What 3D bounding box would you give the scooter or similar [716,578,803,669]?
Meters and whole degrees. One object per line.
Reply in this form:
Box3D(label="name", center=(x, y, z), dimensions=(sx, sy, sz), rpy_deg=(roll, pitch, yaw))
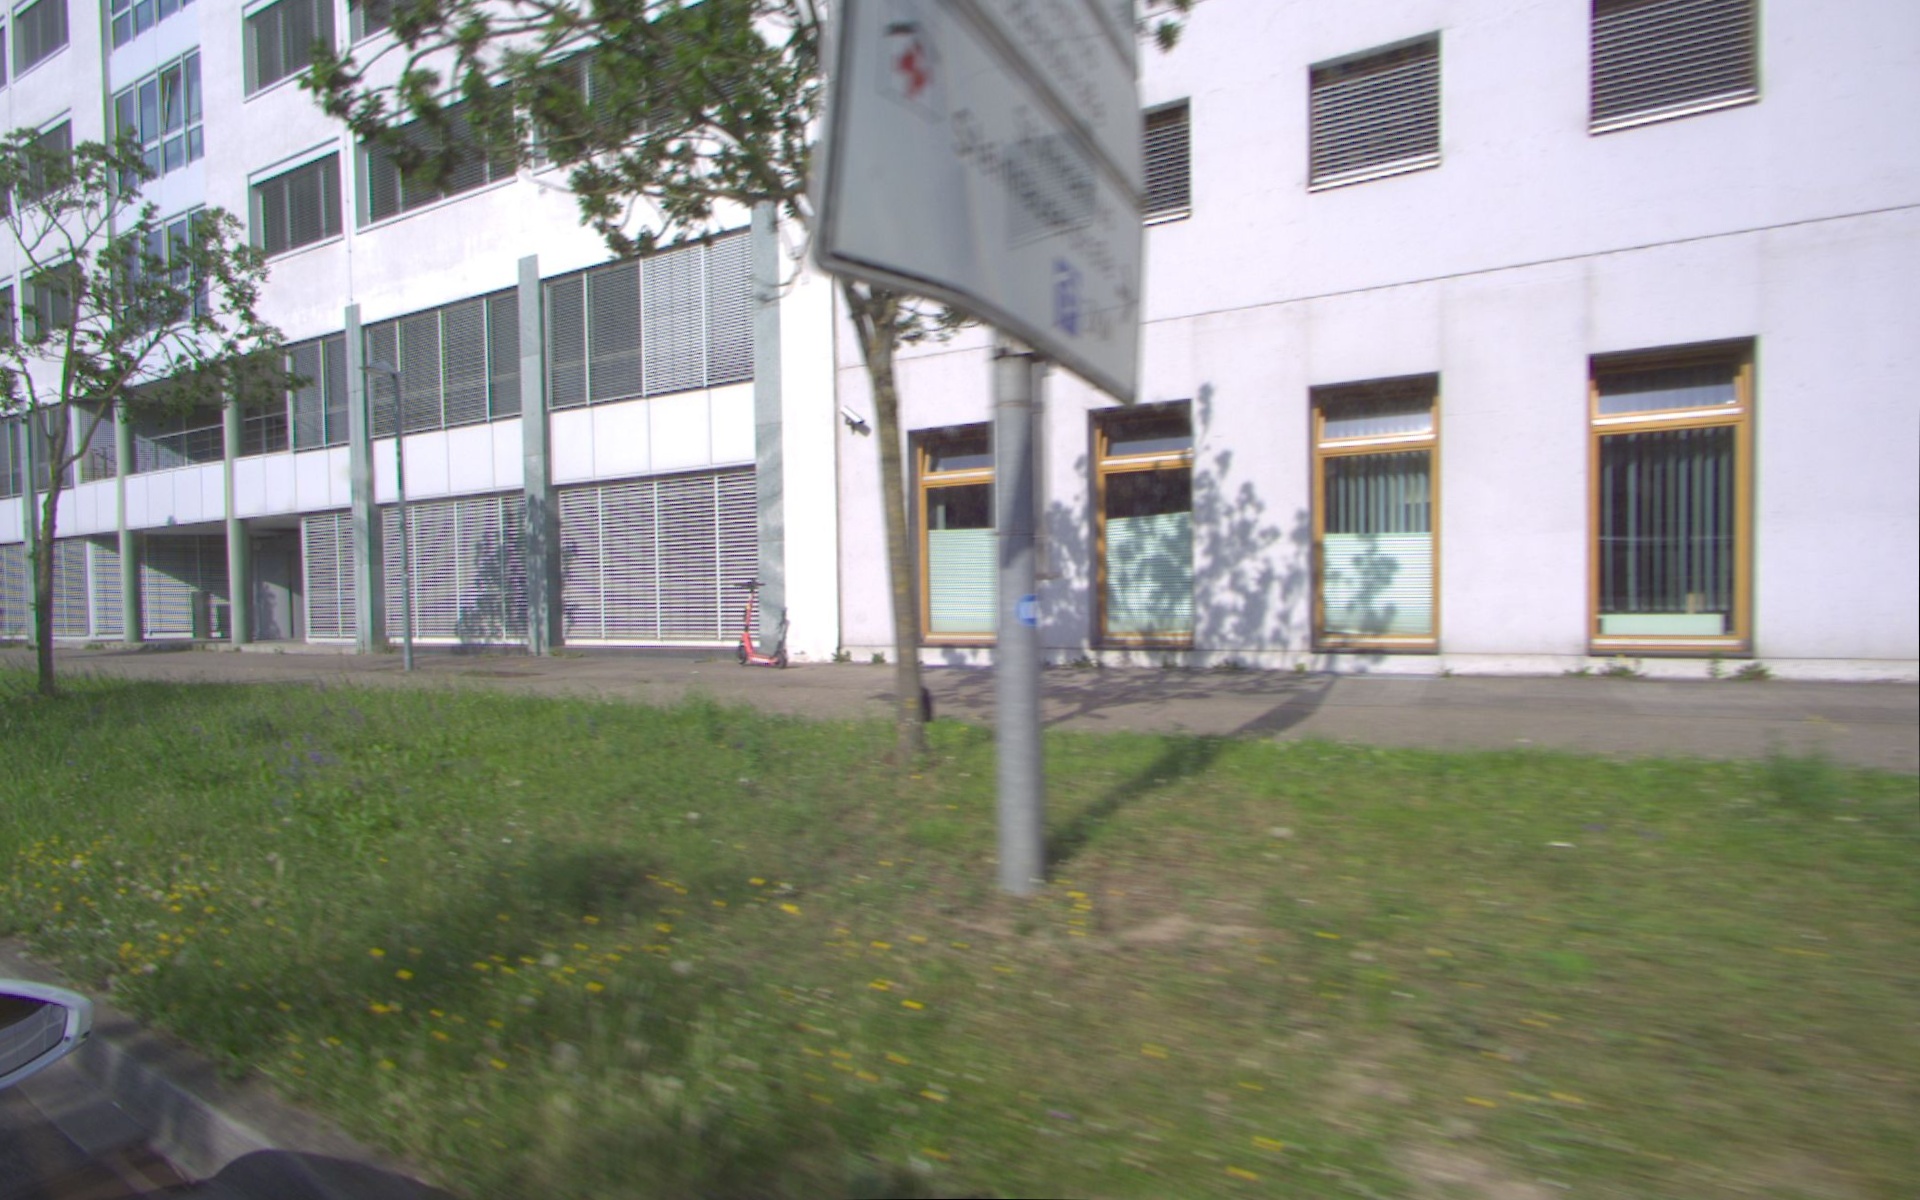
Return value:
Box3D(label="scooter or similar", center=(-2.850, 0.315, 14.177), dimensions=(1.238, 1.230, 0.461), rpy_deg=(0, 3, 36))
